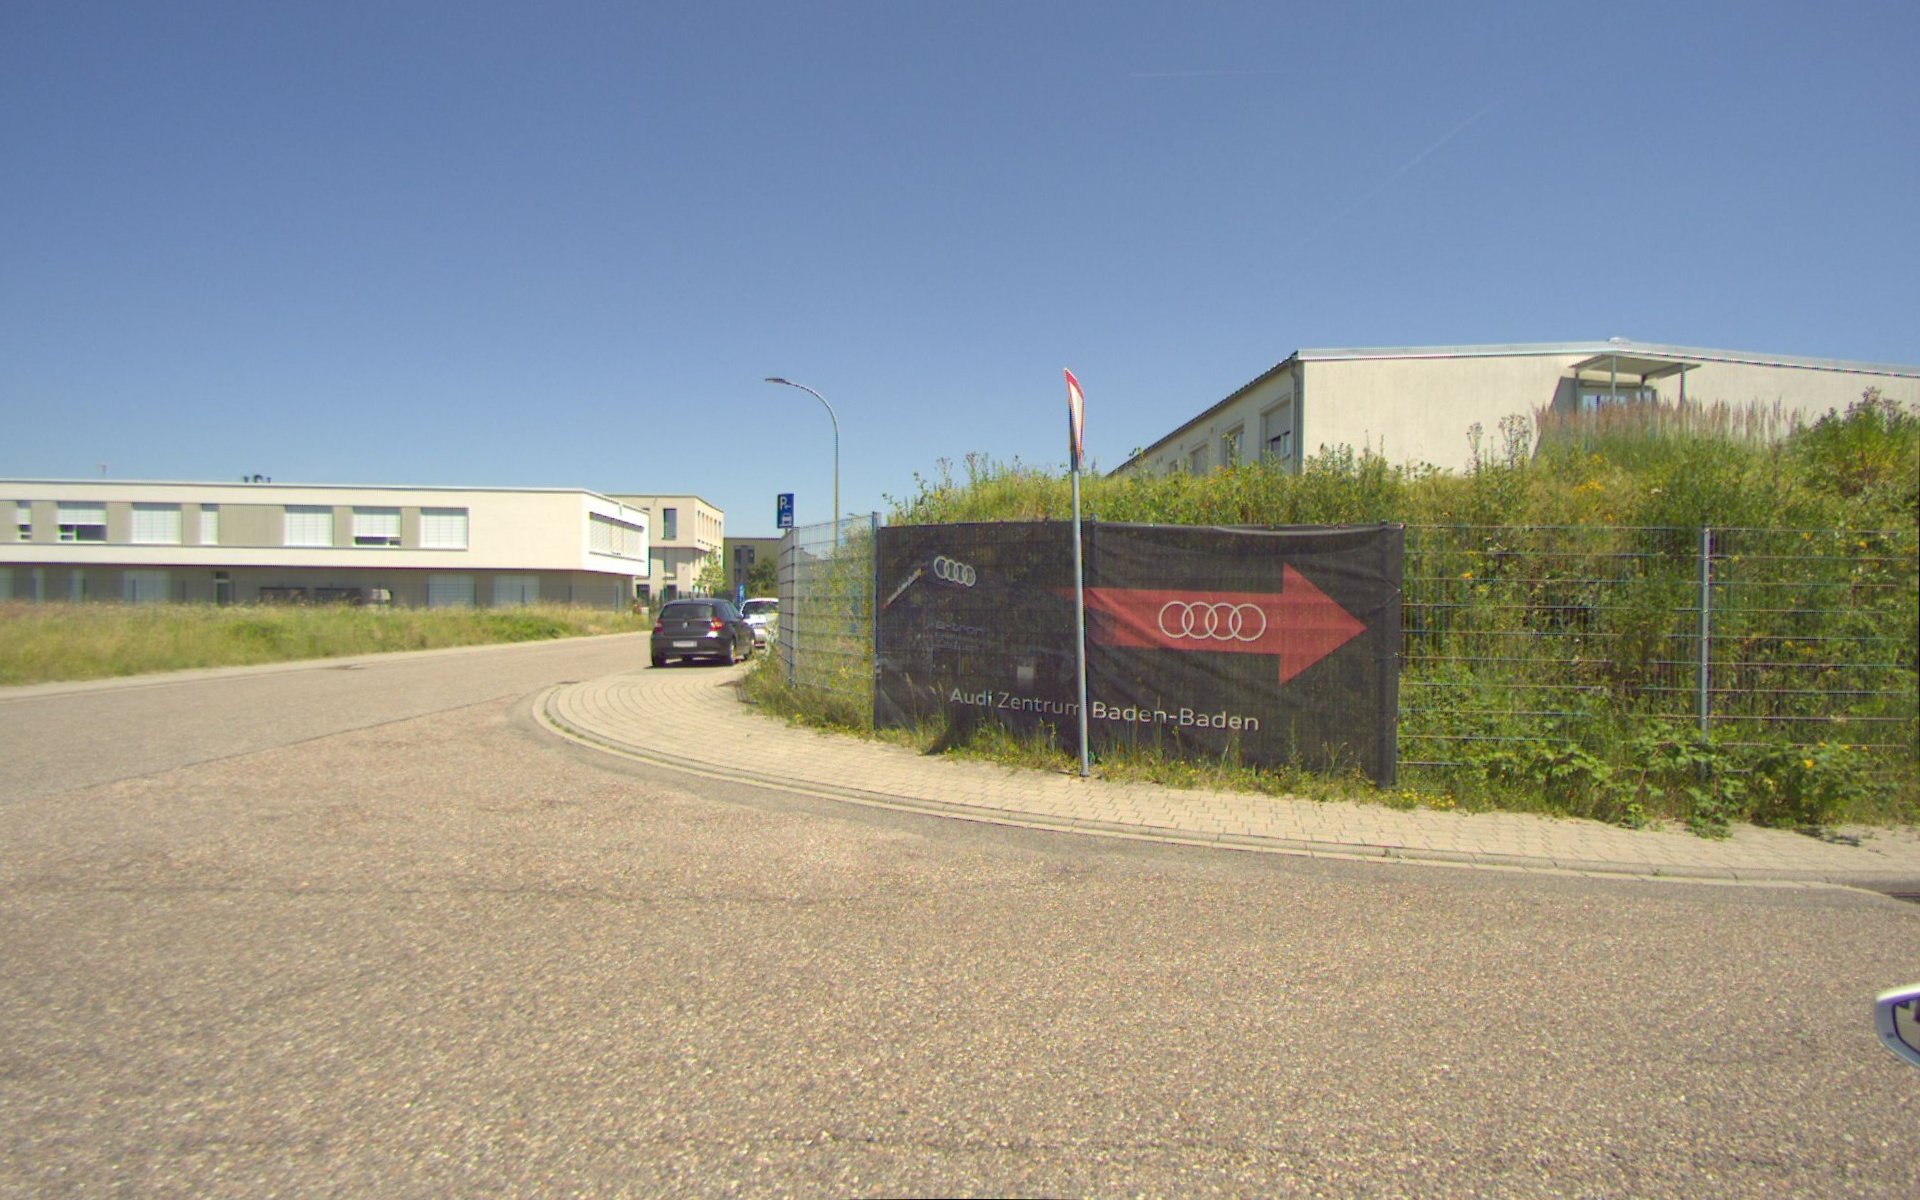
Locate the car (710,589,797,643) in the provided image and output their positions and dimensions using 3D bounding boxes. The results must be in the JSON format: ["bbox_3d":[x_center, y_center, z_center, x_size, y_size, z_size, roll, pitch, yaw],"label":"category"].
[{"bbox_3d":[-6.370,0.467,31.361,1.876,1.567,4.000,-1,0,0],"label":"car"}]

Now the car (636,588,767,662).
[{"bbox_3d":[-5.593,0.503,22.249,1.876,1.467,4.000,-1,0,0],"label":"car"}]
